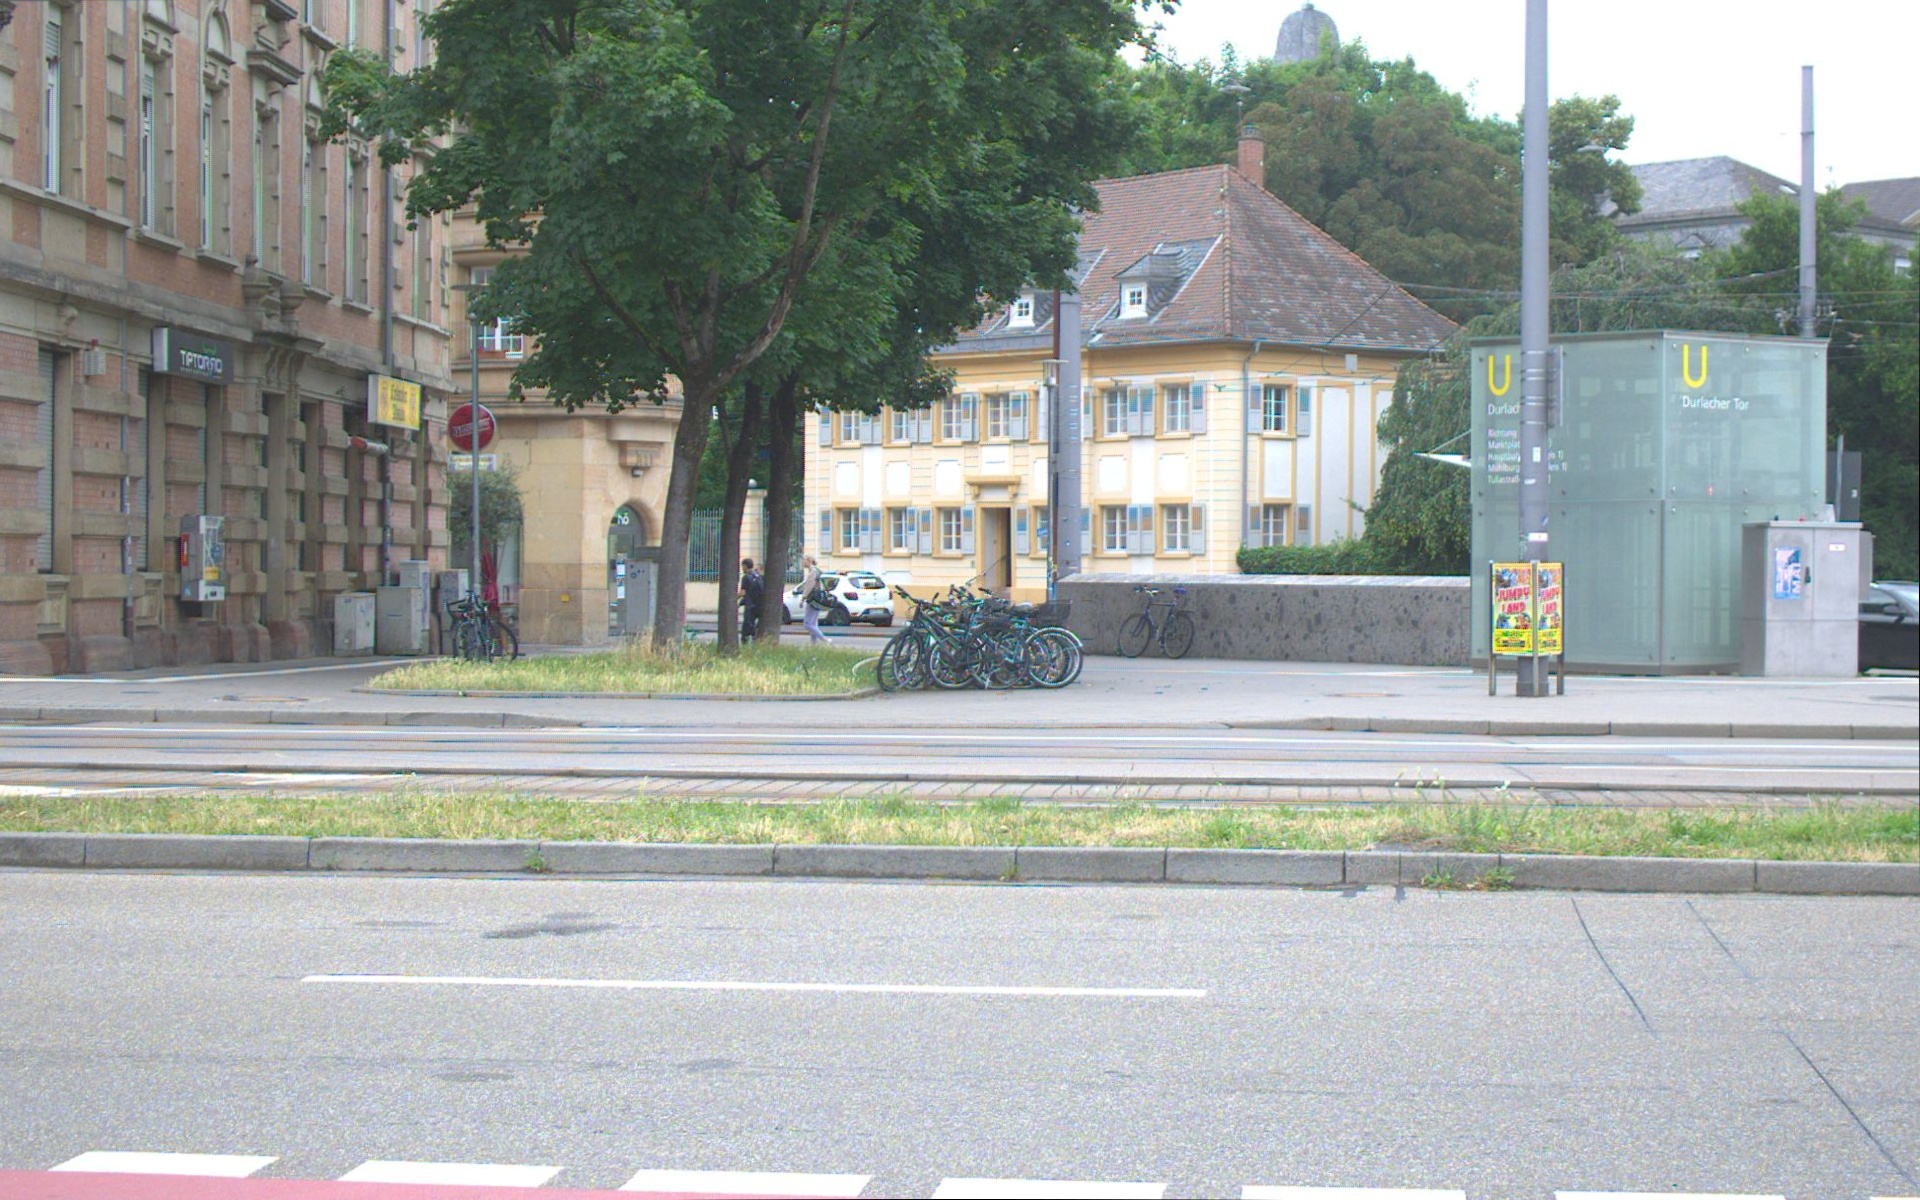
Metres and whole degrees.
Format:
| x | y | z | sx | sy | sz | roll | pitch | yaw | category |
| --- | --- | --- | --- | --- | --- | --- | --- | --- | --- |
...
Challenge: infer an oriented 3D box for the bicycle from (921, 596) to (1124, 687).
| x | y | z | sx | sy | sz | roll | pitch | yaw | category |
| --- | --- | --- | --- | --- | --- | --- | --- | --- | --- |
| 0.704 | 0.463 | 38.652 | 2.215 | 0.983 | 0.500 | 1 | 1 | 13 | bicycle |

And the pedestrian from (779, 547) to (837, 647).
| x | y | z | sx | sy | sz | roll | pitch | yaw | category |
| --- | --- | --- | --- | --- | --- | --- | --- | --- | --- |
| -2.631 | -0.062 | 59.633 | 0.844 | 1.716 | 0.952 | 1 | 1 | 7 | pedestrian |

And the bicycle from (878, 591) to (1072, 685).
| x | y | z | sx | sy | sz | roll | pitch | yaw | category |
| --- | --- | --- | --- | --- | --- | --- | --- | --- | --- |
| 0.163 | 0.405 | 37.399 | 2.032 | 0.983 | 0.521 | 1 | 1 | 13 | bicycle |

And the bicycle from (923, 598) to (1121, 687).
| x | y | z | sx | sy | sz | roll | pitch | yaw | category |
| --- | --- | --- | --- | --- | --- | --- | --- | --- | --- |
| 0.723 | 0.485 | 39.927 | 2.215 | 0.983 | 0.610 | 1 | 1 | 13 | bicycle |

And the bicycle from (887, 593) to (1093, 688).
| x | y | z | sx | sy | sz | roll | pitch | yaw | category |
| --- | --- | --- | --- | --- | --- | --- | --- | --- | --- |
| 0.329 | 0.438 | 37.941 | 2.215 | 1.002 | 0.480 | 1 | 1 | 13 | bicycle |

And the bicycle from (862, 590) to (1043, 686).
| x | y | z | sx | sy | sz | roll | pitch | yaw | category |
| --- | --- | --- | --- | --- | --- | --- | --- | --- | --- |
| -0.074 | 0.400 | 36.676 | 1.864 | 0.983 | 0.500 | 1 | 1 | 12 | bicycle |

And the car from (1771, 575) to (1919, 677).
| x | y | z | sx | sy | sz | roll | pitch | yaw | category |
| --- | --- | --- | --- | --- | --- | --- | --- | --- | --- |
| 14.155 | 0.372 | 51.024 | 1.691 | 1.444 | 4.143 | 0 | 1 | -32 | car |

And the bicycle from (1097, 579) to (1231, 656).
| x | y | z | sx | sy | sz | roll | pitch | yaw | category |
| --- | --- | --- | --- | --- | --- | --- | --- | --- | --- |
| 3.087 | 0.255 | 52.220 | 0.738 | 1.111 | 2.363 | 0 | 1 | -34 | bicycle |

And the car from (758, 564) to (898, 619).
| x | y | z | sx | sy | sz | roll | pitch | yaw | category |
| --- | --- | --- | --- | --- | --- | --- | --- | --- | --- |
| -3.683 | -0.245 | 95.667 | 1.692 | 1.444 | 4.186 | 0 | 1 | -40 | car |

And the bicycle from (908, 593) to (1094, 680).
| x | y | z | sx | sy | sz | roll | pitch | yaw | category |
| --- | --- | --- | --- | --- | --- | --- | --- | --- | --- |
| 0.509 | 0.446 | 42.853 | 2.215 | 1.035 | 0.688 | 1 | 1 | 13 | bicycle |

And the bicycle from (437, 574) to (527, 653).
| x | y | z | sx | sy | sz | roll | pitch | yaw | category |
| --- | --- | --- | --- | --- | --- | --- | --- | --- | --- |
| -5.817 | 0.152 | 41.914 | 0.660 | 0.911 | 1.989 | 0 | 1 | 5 | bicycle |

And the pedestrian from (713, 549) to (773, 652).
| x | y | z | sx | sy | sz | roll | pitch | yaw | category |
| --- | --- | --- | --- | --- | --- | --- | --- | --- | --- |
| -3.653 | 0.008 | 58.051 | 0.844 | 1.716 | 0.952 | 1 | 1 | 7 | pedestrian |

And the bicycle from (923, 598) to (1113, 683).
| x | y | z | sx | sy | sz | roll | pitch | yaw | category |
| --- | --- | --- | --- | --- | --- | --- | --- | --- | --- |
| 0.700 | 0.483 | 41.580 | 2.215 | 0.983 | 0.585 | 1 | 1 | 13 | bicycle |
